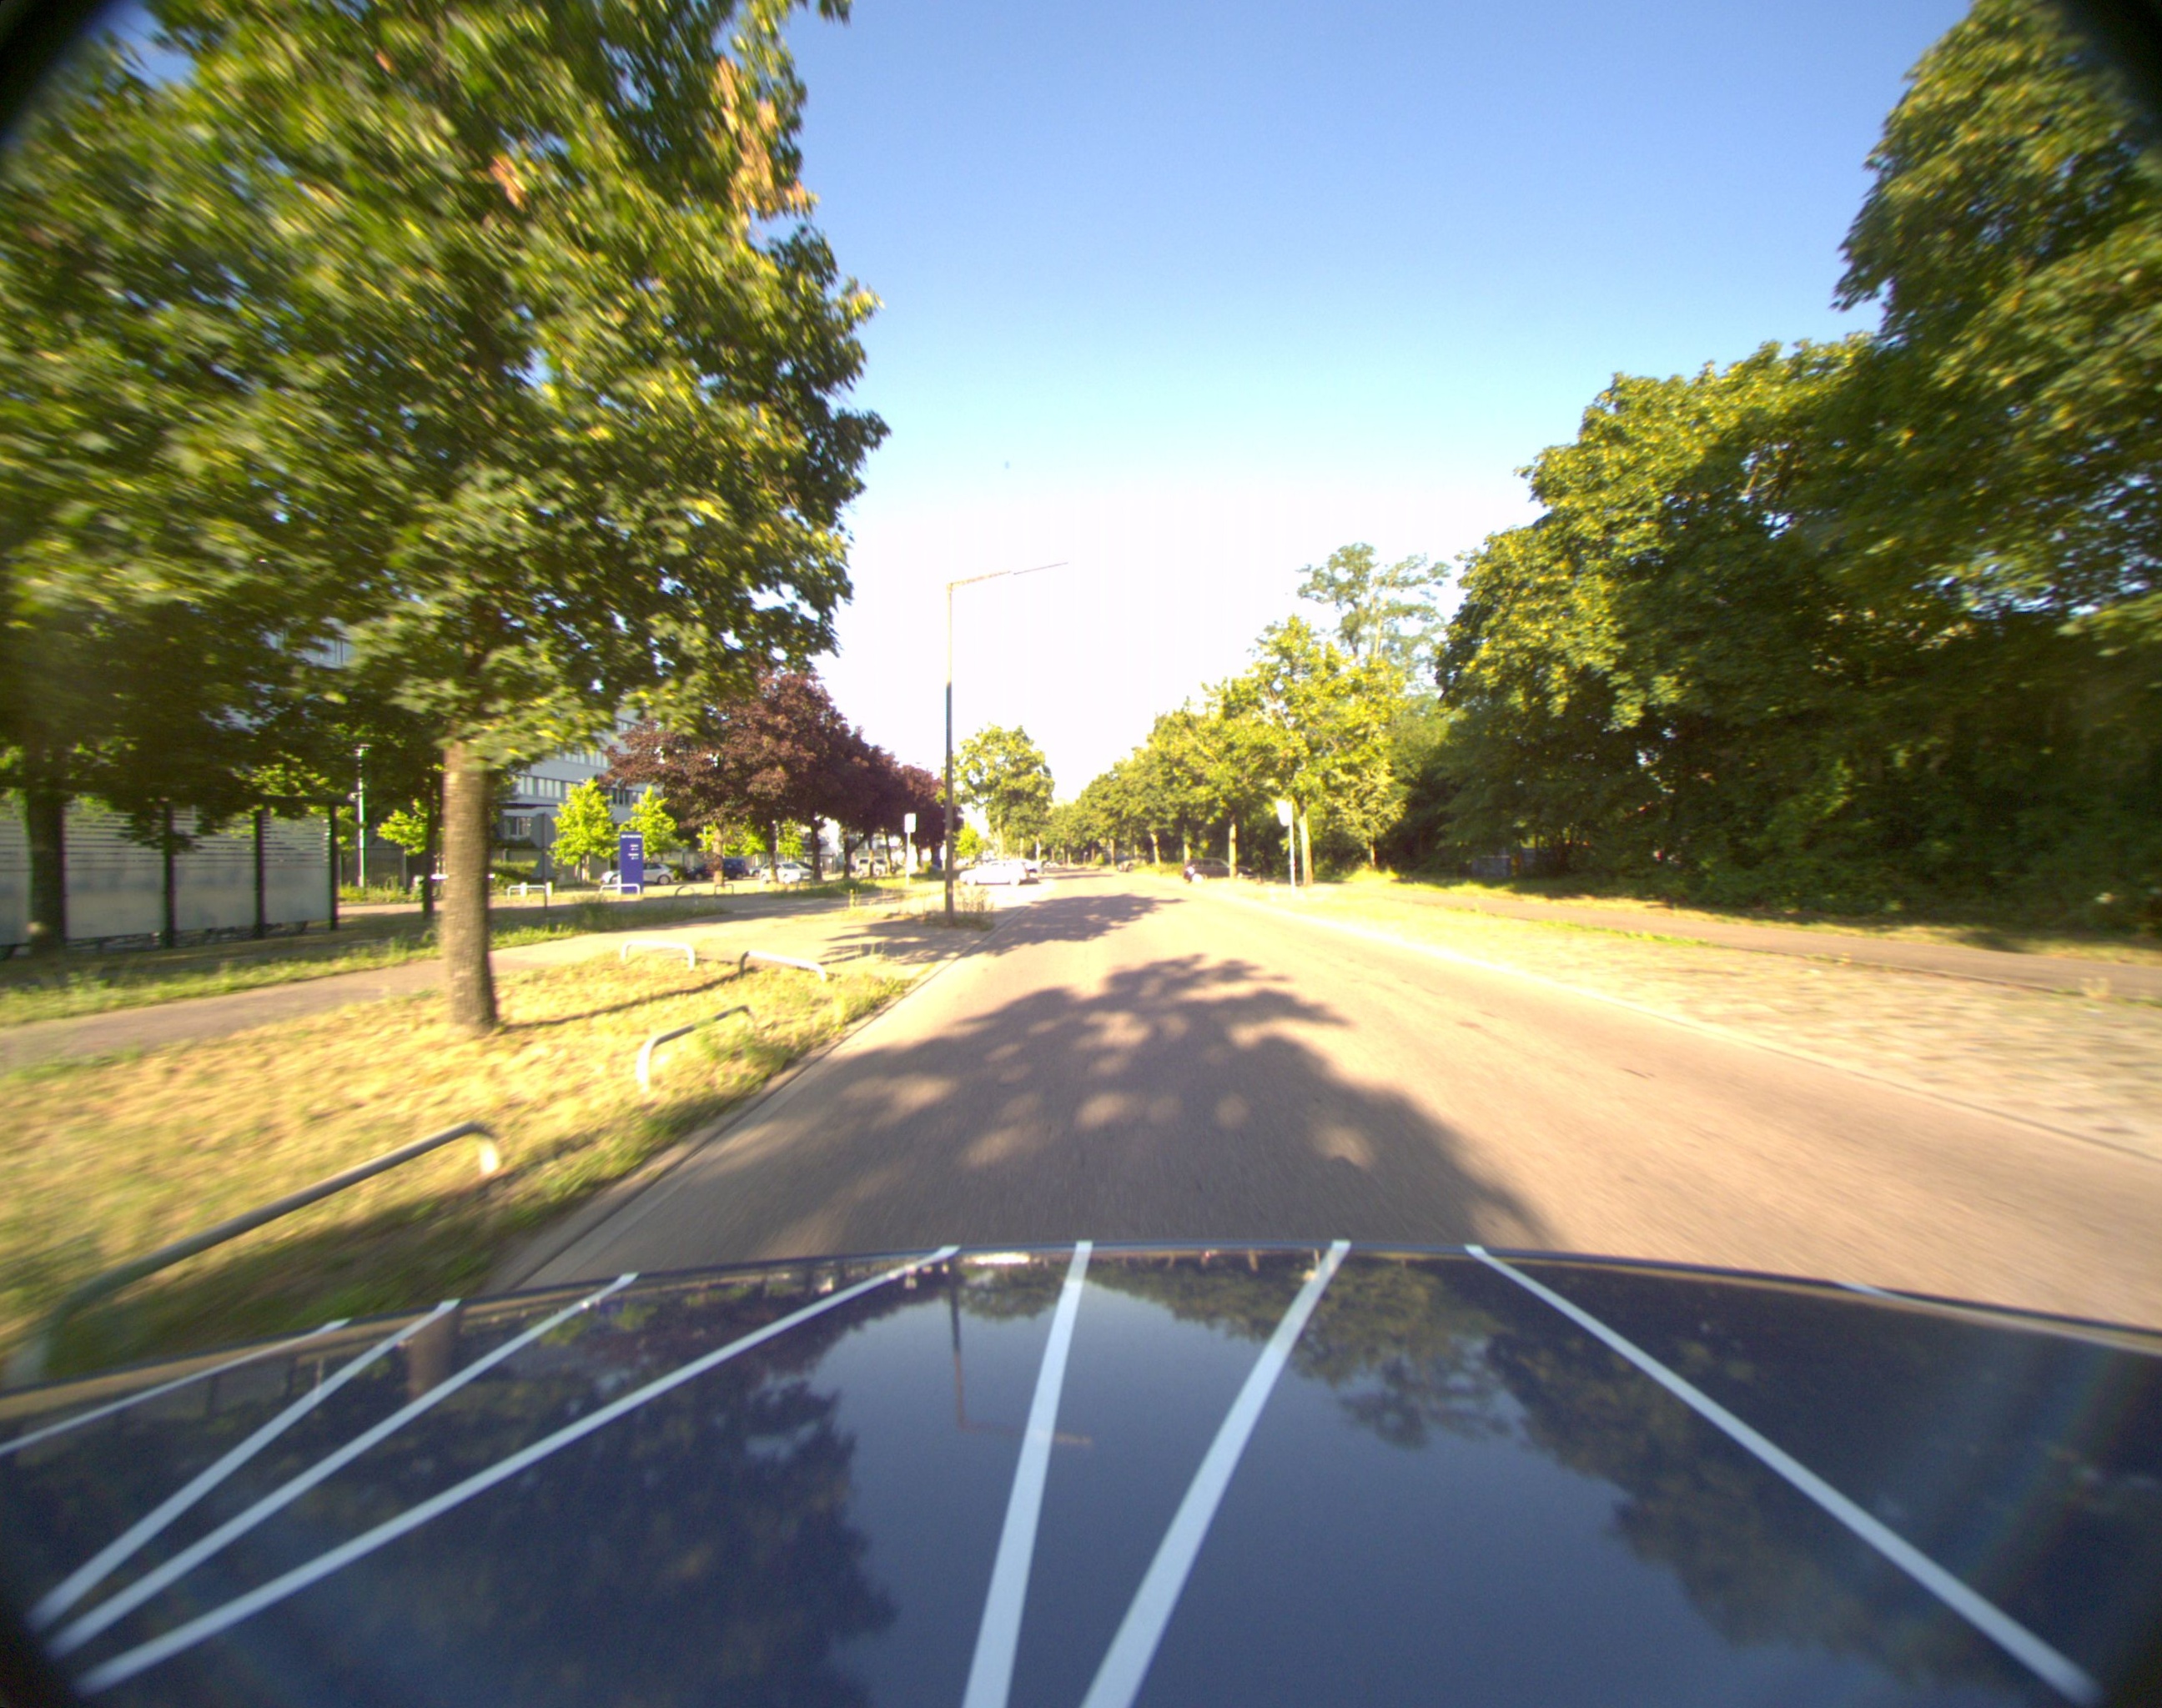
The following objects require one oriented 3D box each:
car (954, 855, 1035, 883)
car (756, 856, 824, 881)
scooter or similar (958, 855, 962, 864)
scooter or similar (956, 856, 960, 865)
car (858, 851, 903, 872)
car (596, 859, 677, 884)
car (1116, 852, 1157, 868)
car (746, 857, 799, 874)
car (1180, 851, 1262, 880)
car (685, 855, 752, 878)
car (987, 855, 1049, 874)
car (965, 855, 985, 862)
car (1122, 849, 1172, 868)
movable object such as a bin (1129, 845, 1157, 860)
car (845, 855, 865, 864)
[{"bbox_3d":[-5.050,0.866,44.754,4.366,1.470,2.001,1,1,8],"label":"car"},{"bbox_3d":[-19.784,0.947,51.584,4.940,1.565,2.004,0,0,37],"label":"car"},{"bbox_3d":[-17.821,0.829,111.680,0.521,1.264,1.386,0,0,-8],"label":"scooter or similar"},{"bbox_3d":[-18.270,0.949,113.083,0.521,1.264,1.199,-1,0,-8],"label":"scooter or similar"},{"bbox_3d":[-19.531,0.759,73.948,4.940,1.922,2.004,-2,-1,45],"label":"car"},{"bbox_3d":[-29.167,1.136,49.925,4.313,1.518,1.762,0,0,-41],"label":"car"},{"bbox_3d":[6.266,0.647,85.843,4.224,1.521,1.704,-3,1,-6],"label":"car"},{"bbox_3d":[-28.972,1.075,71.388,4.321,1.520,1.802,-1,0,-39],"label":"car"},{"bbox_3d":[8.235,0.686,44.968,4.370,1.470,2.000,-3,0,-2],"label":"car"},{"bbox_3d":[-29.079,0.978,61.070,4.505,1.739,1.762,0,0,-44],"label":"car"},{"bbox_3d":[-5.361,0.910,64.904,5.190,1.565,2.157,0,0,-5],"label":"car"},{"bbox_3d":[-26.621,1.154,190.764,4.609,1.575,1.997,1,0,-16],"label":"car"},{"bbox_3d":[7.108,0.464,81.653,5.020,2.008,2.173,-1,0,-6],"label":"car"},{"bbox_3d":[11.375,-0.281,139.830,4.790,2.649,2.169,0,0,41],"label":"movable object such as a bin"},{"bbox_3d":[-39.535,0.970,132.925,2.036,1.423,4.561,-1,0,3],"label":"car"}]
